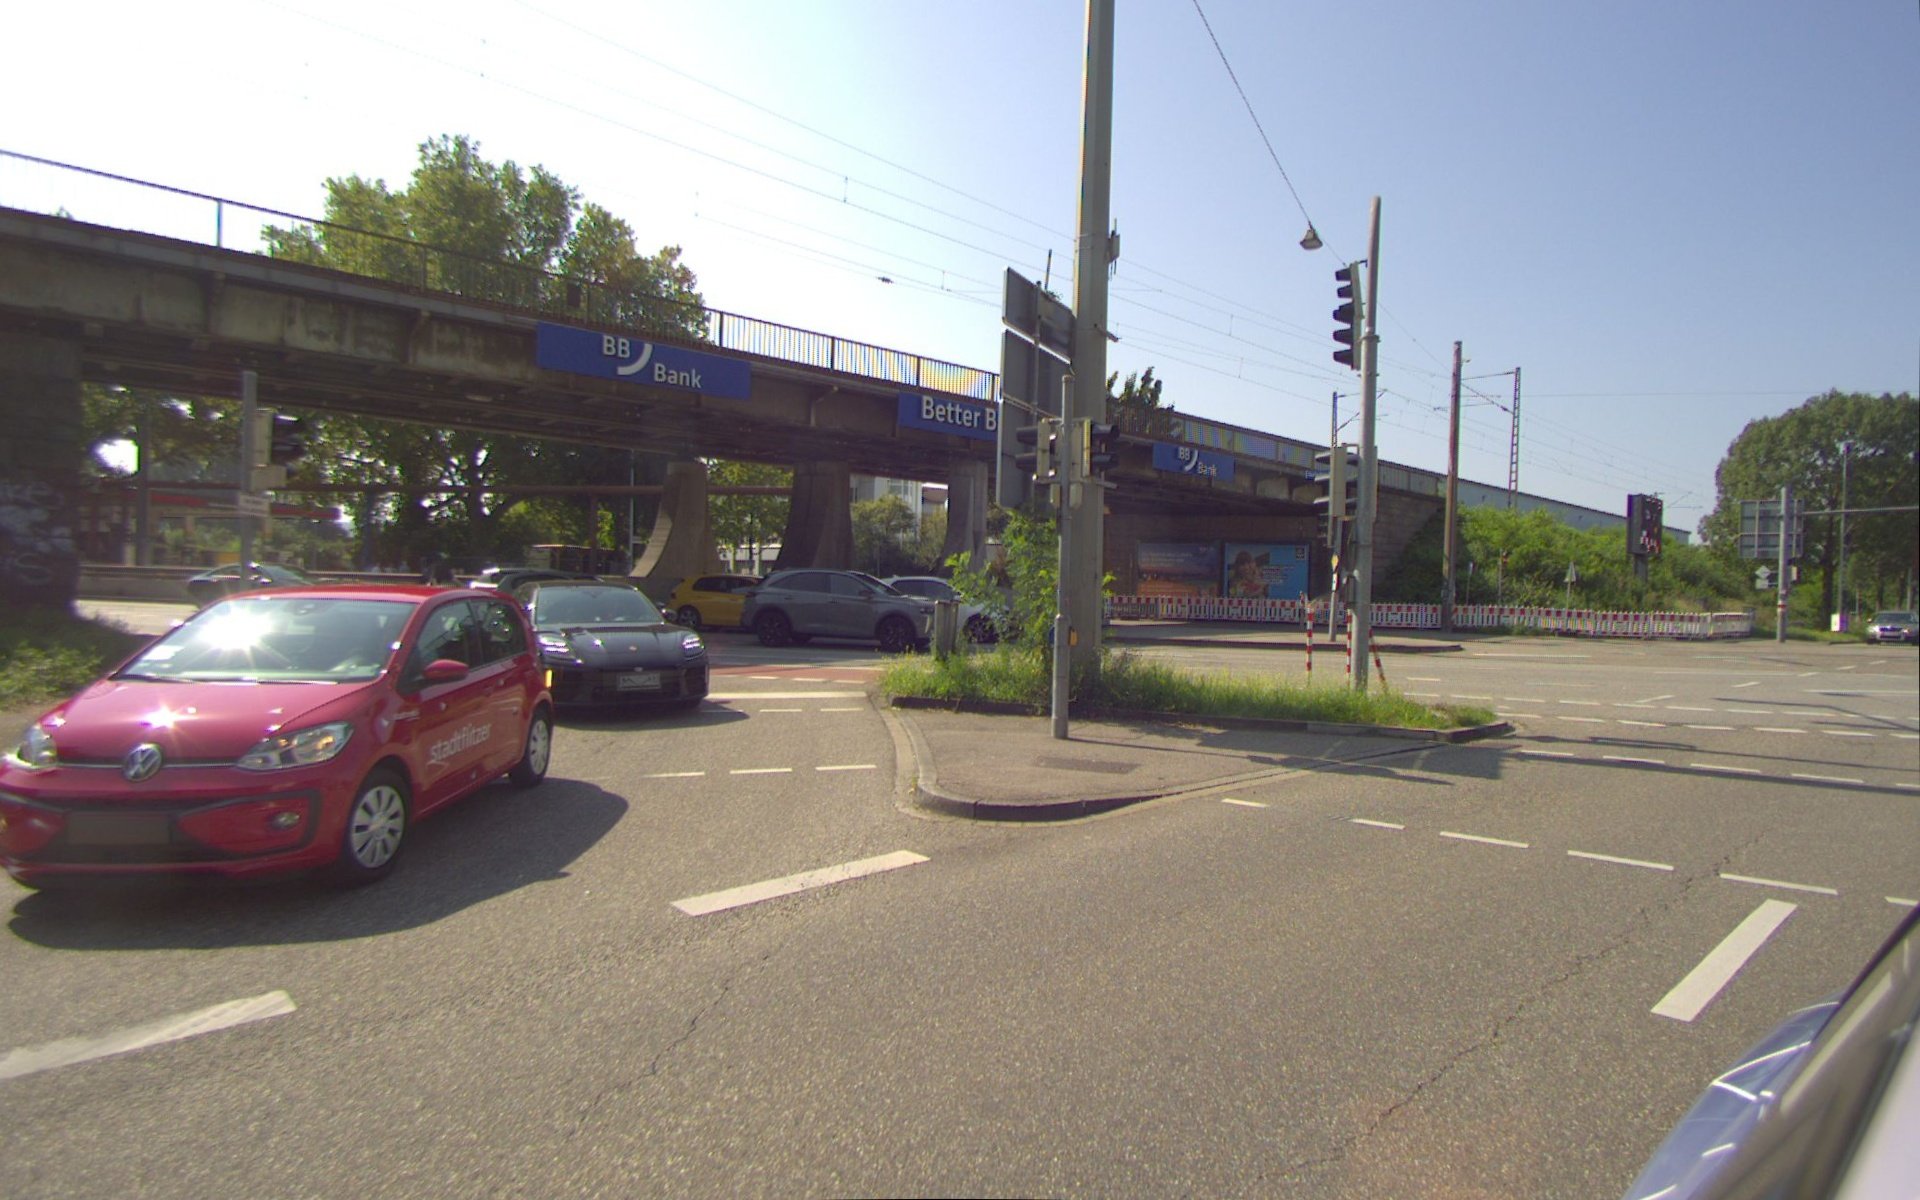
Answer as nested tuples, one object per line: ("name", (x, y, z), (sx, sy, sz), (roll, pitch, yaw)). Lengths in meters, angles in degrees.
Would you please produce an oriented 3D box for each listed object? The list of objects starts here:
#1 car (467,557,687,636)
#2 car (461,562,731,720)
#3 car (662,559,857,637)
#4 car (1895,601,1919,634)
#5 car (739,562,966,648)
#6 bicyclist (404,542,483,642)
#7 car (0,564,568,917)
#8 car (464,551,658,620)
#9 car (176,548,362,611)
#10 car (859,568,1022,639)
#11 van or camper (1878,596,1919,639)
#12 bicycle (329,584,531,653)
("car", (-8.661, -0.129, 23.034), (4.277, 1.540, 1.995), (3, 2, 10))
("car", (-4.677, 0.303, 12.478), (1.962, 1.481, 4.889), (-1, 3, -35))
("car", (-4.946, -0.057, 25.243), (4.278, 1.592, 1.994), (4, 0, 10))
("car", (47.911, 0.864, 50.227), (3.933, 1.572, 1.995), (0, 0, -43))
("car", (-2.237, 0.044, 21.380), (4.411, 1.637, 1.899), (1, 2, 16))
("bicyclist", (-8.954, -0.145, 17.569), (0.954, 1.679, 0.711), (2, 0, 8))
("car", (-3.667, 0.538, 6.086), (1.610, 1.485, 3.559), (0, 2, -7))
("car", (-10.395, -0.378, 26.493), (4.278, 1.488, 1.994), (4, 0, 10))
("car", (-19.173, -0.565, 28.150), (4.119, 1.502, 1.852), (3, 0, 10))
("car", (-0.433, 0.045, 24.285), (3.636, 1.557, 1.722), (2, 1, 10))
("van or camper", (43.196, 0.812, 45.903), (4.101, 1.799, 1.849), (3, -2, -41))
("bicycle", (-9.168, 0.296, 17.582), (2.928, 1.062, 1.232), (2, 1, 8))
